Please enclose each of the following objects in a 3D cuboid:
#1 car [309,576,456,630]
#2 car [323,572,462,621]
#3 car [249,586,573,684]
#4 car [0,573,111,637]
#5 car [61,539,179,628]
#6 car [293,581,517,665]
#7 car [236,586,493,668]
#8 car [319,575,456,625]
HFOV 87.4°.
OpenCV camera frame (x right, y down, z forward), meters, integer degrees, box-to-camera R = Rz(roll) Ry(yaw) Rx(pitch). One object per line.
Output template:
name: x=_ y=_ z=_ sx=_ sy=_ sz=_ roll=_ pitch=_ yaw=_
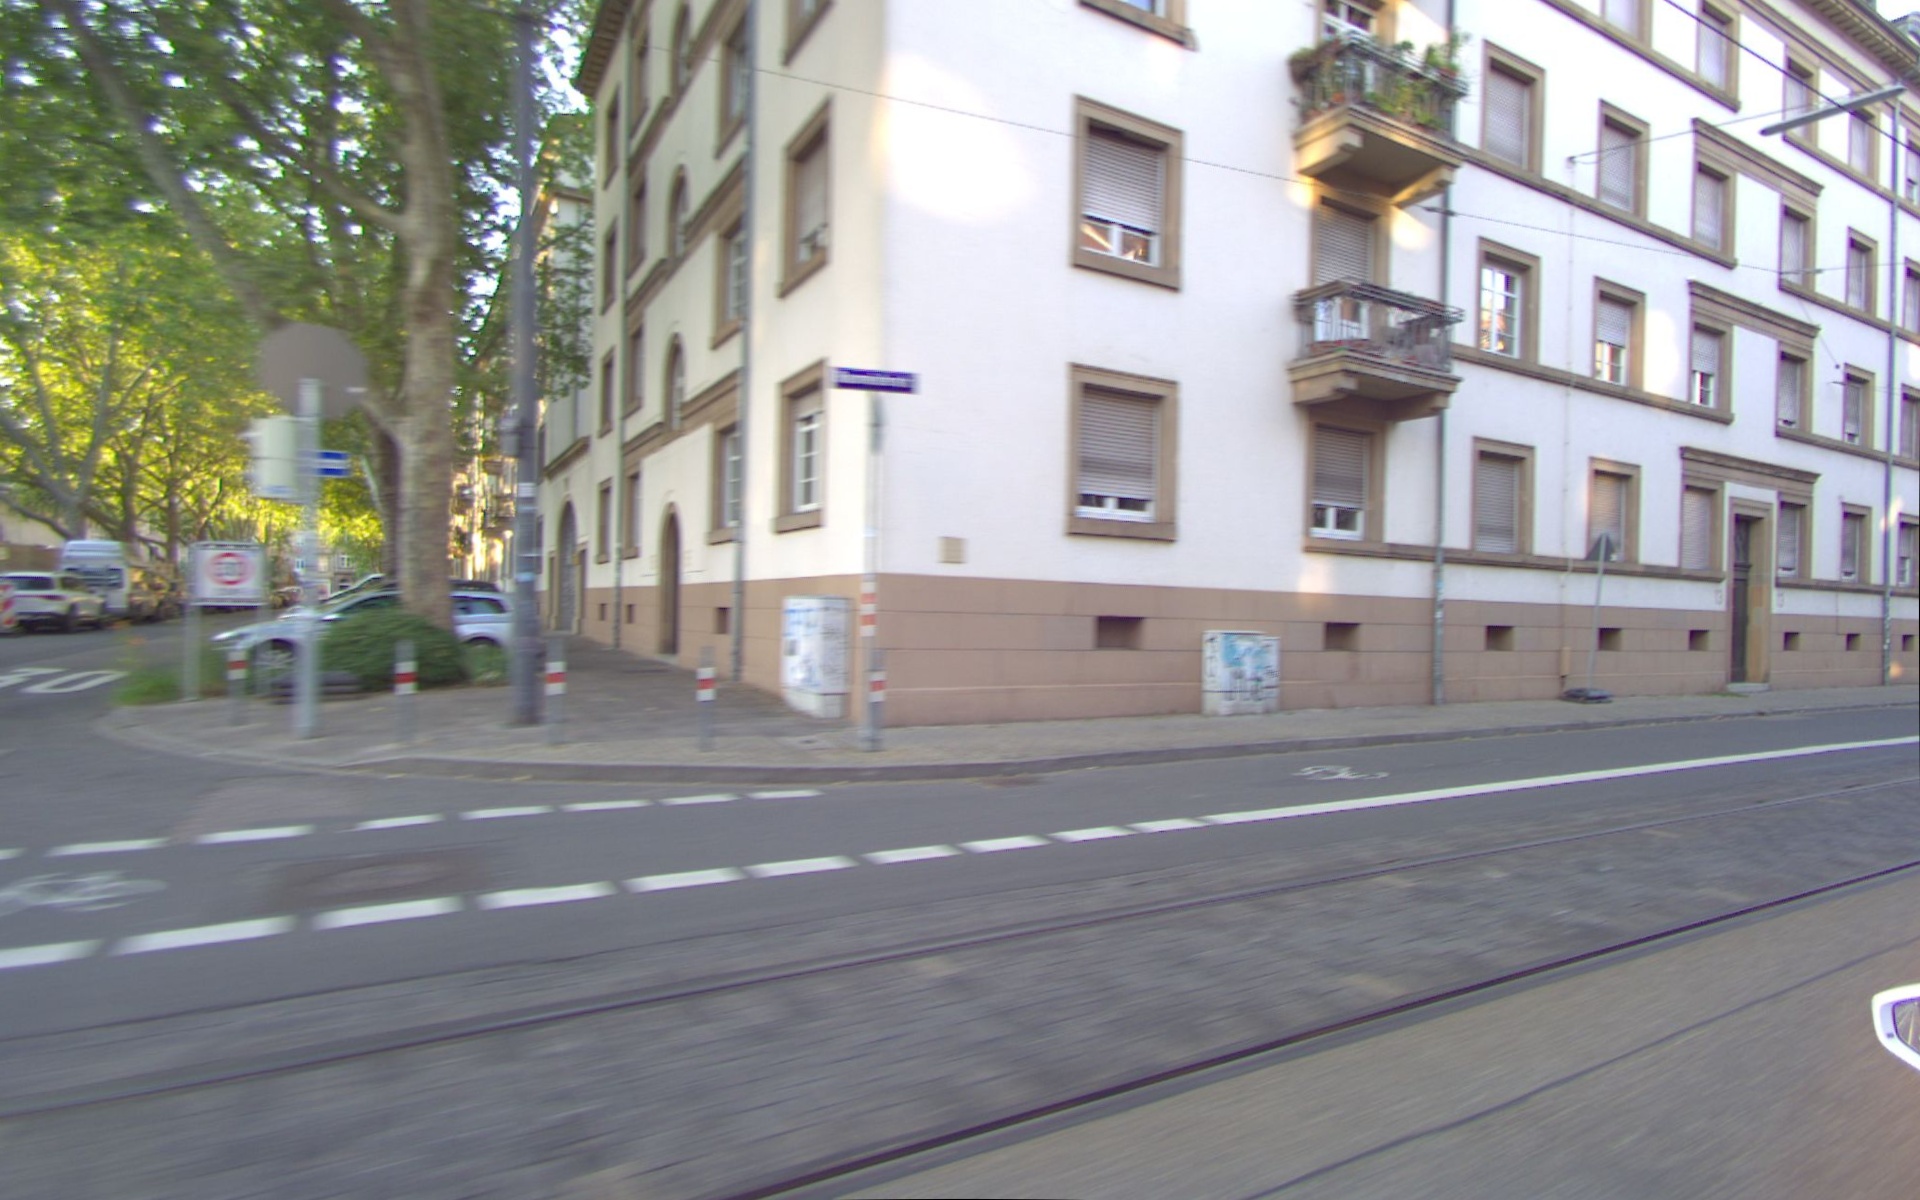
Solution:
car: x=-18.713 y=0.054 z=32.721 sx=4.043 sy=1.635 sz=1.745 roll=-1 pitch=1 yaw=-29
car: x=-23.421 y=-0.178 z=41.632 sx=4.865 sy=1.904 sz=1.745 roll=-1 pitch=1 yaw=-30
car: x=-8.824 y=0.484 z=16.476 sx=4.420 sy=1.378 sz=1.745 roll=-1 pitch=1 yaw=-29
car: x=-25.199 y=0.100 z=27.809 sx=1.737 sy=1.648 sz=4.062 roll=-1 pitch=1 yaw=-28
car: x=-28.318 y=-0.565 z=34.036 sx=2.000 sy=2.759 sz=4.983 roll=-1 pitch=1 yaw=-28
car: x=-11.841 y=0.431 z=21.649 sx=4.043 sy=1.635 sz=1.745 roll=-1 pitch=1 yaw=-29
car: x=-11.222 y=0.444 z=19.208 sx=4.043 sy=1.378 sz=1.745 roll=-1 pitch=1 yaw=-29
car: x=-19.887 y=-0.026 z=35.037 sx=4.043 sy=1.635 sz=1.745 roll=-1 pitch=1 yaw=-29
